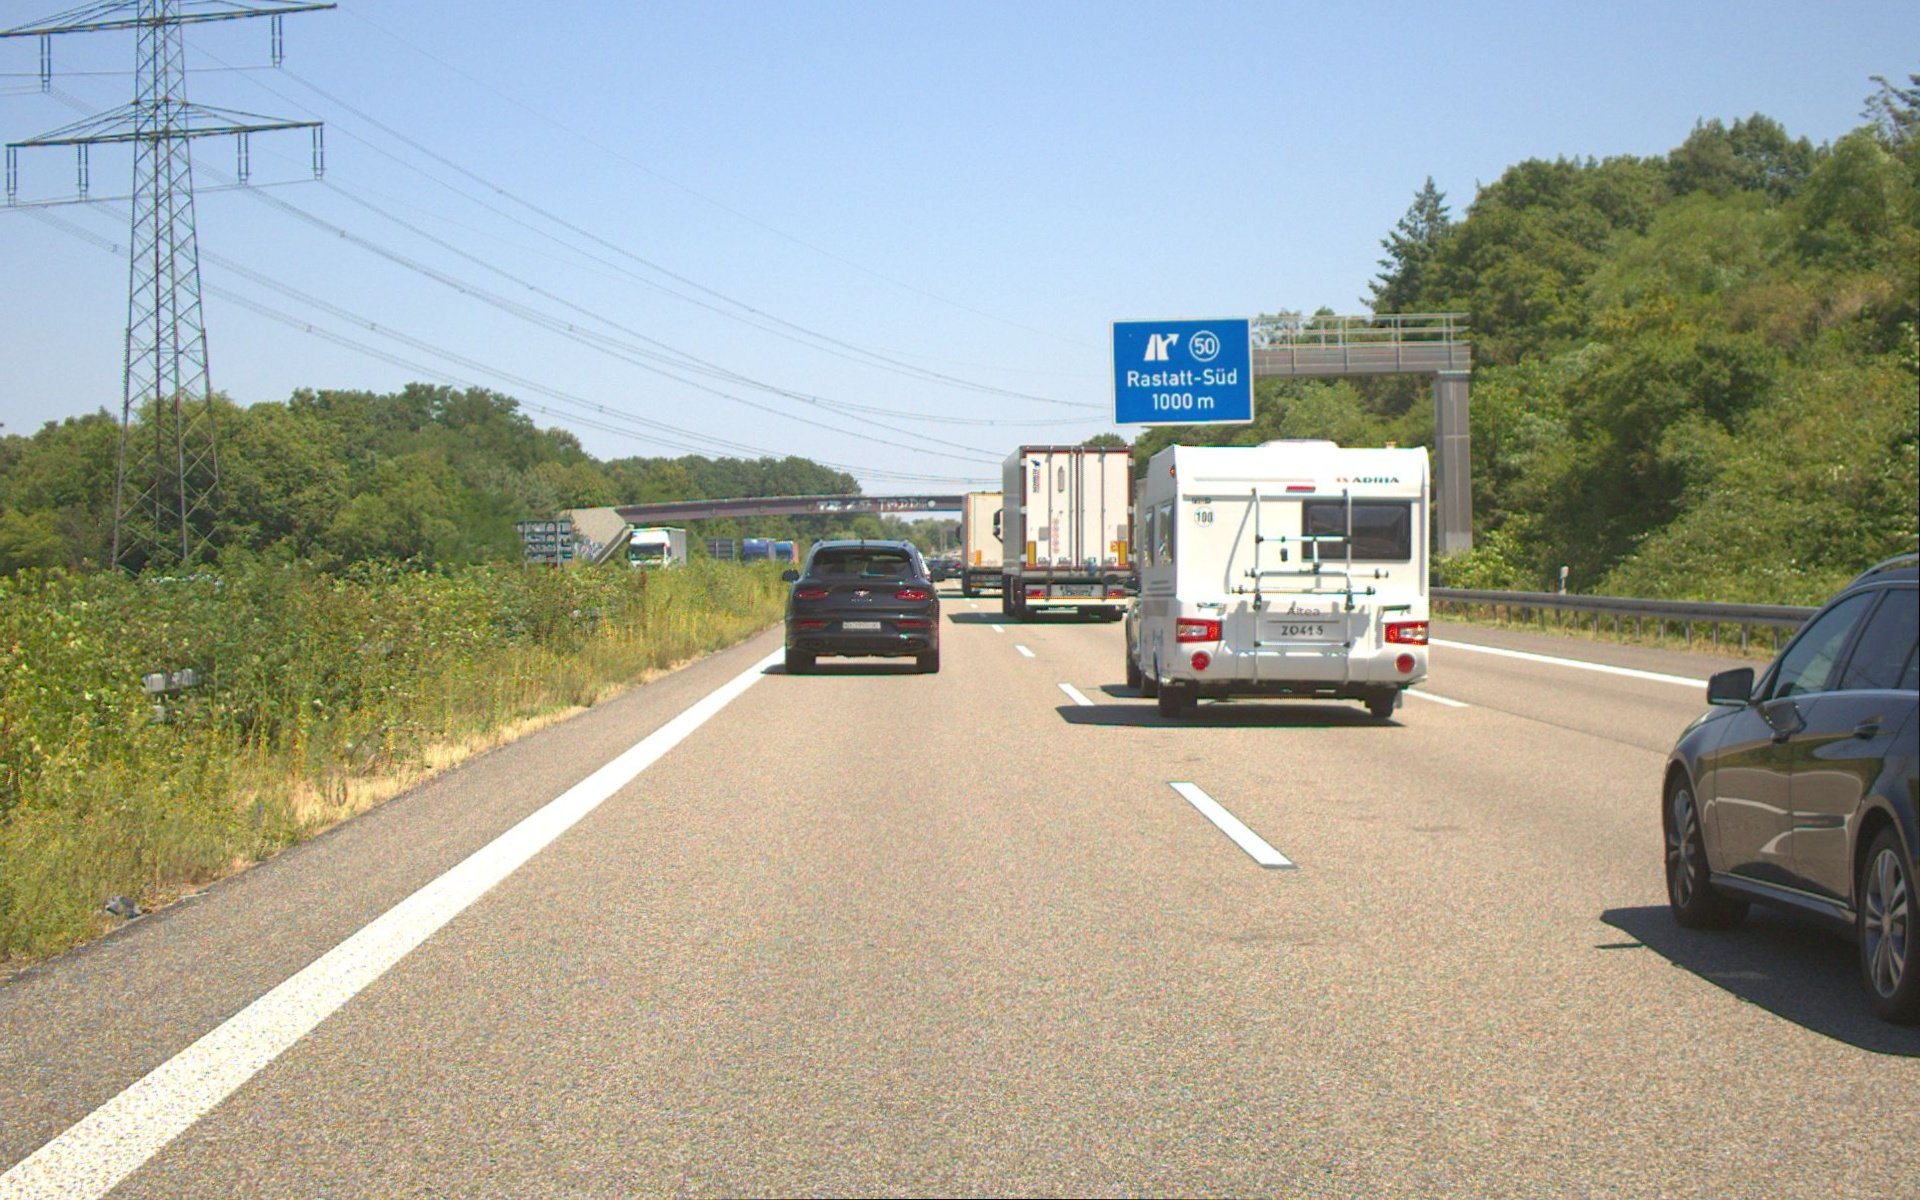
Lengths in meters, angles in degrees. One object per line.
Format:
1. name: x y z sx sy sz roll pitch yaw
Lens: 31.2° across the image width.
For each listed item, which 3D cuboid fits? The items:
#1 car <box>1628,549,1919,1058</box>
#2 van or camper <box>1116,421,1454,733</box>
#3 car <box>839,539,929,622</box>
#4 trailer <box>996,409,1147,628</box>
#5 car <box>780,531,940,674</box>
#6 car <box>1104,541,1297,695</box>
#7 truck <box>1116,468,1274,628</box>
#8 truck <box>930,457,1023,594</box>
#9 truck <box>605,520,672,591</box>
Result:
1. car: 3.763 0.584 12.035 1.841 1.500 4.738 0 1 -1
2. van or camper: 2.956 -0.254 32.909 2.439 2.665 6.350 -1 1 -2
3. car: -1.746 -0.475 78.164 1.961 1.808 4.449 -1 1 -2
4. trailer: 2.573 -1.883 83.561 3.087 4.868 12.258 1 0 0
5. car: -1.313 -0.006 45.215 1.993 1.766 4.000 -1 1 -2
6. car: 2.625 0.154 38.487 1.879 1.607 4.702 0 1 1
7. truck: 6.565 -1.440 98.000 3.571 4.230 11.652 1 0 0
8. truck: 0.593 -2.886 135.103 3.512 5.149 10.259 0 1 0
9. truck: -20.848 -2.880 223.507 3.368 4.393 6.556 -2 1 2
